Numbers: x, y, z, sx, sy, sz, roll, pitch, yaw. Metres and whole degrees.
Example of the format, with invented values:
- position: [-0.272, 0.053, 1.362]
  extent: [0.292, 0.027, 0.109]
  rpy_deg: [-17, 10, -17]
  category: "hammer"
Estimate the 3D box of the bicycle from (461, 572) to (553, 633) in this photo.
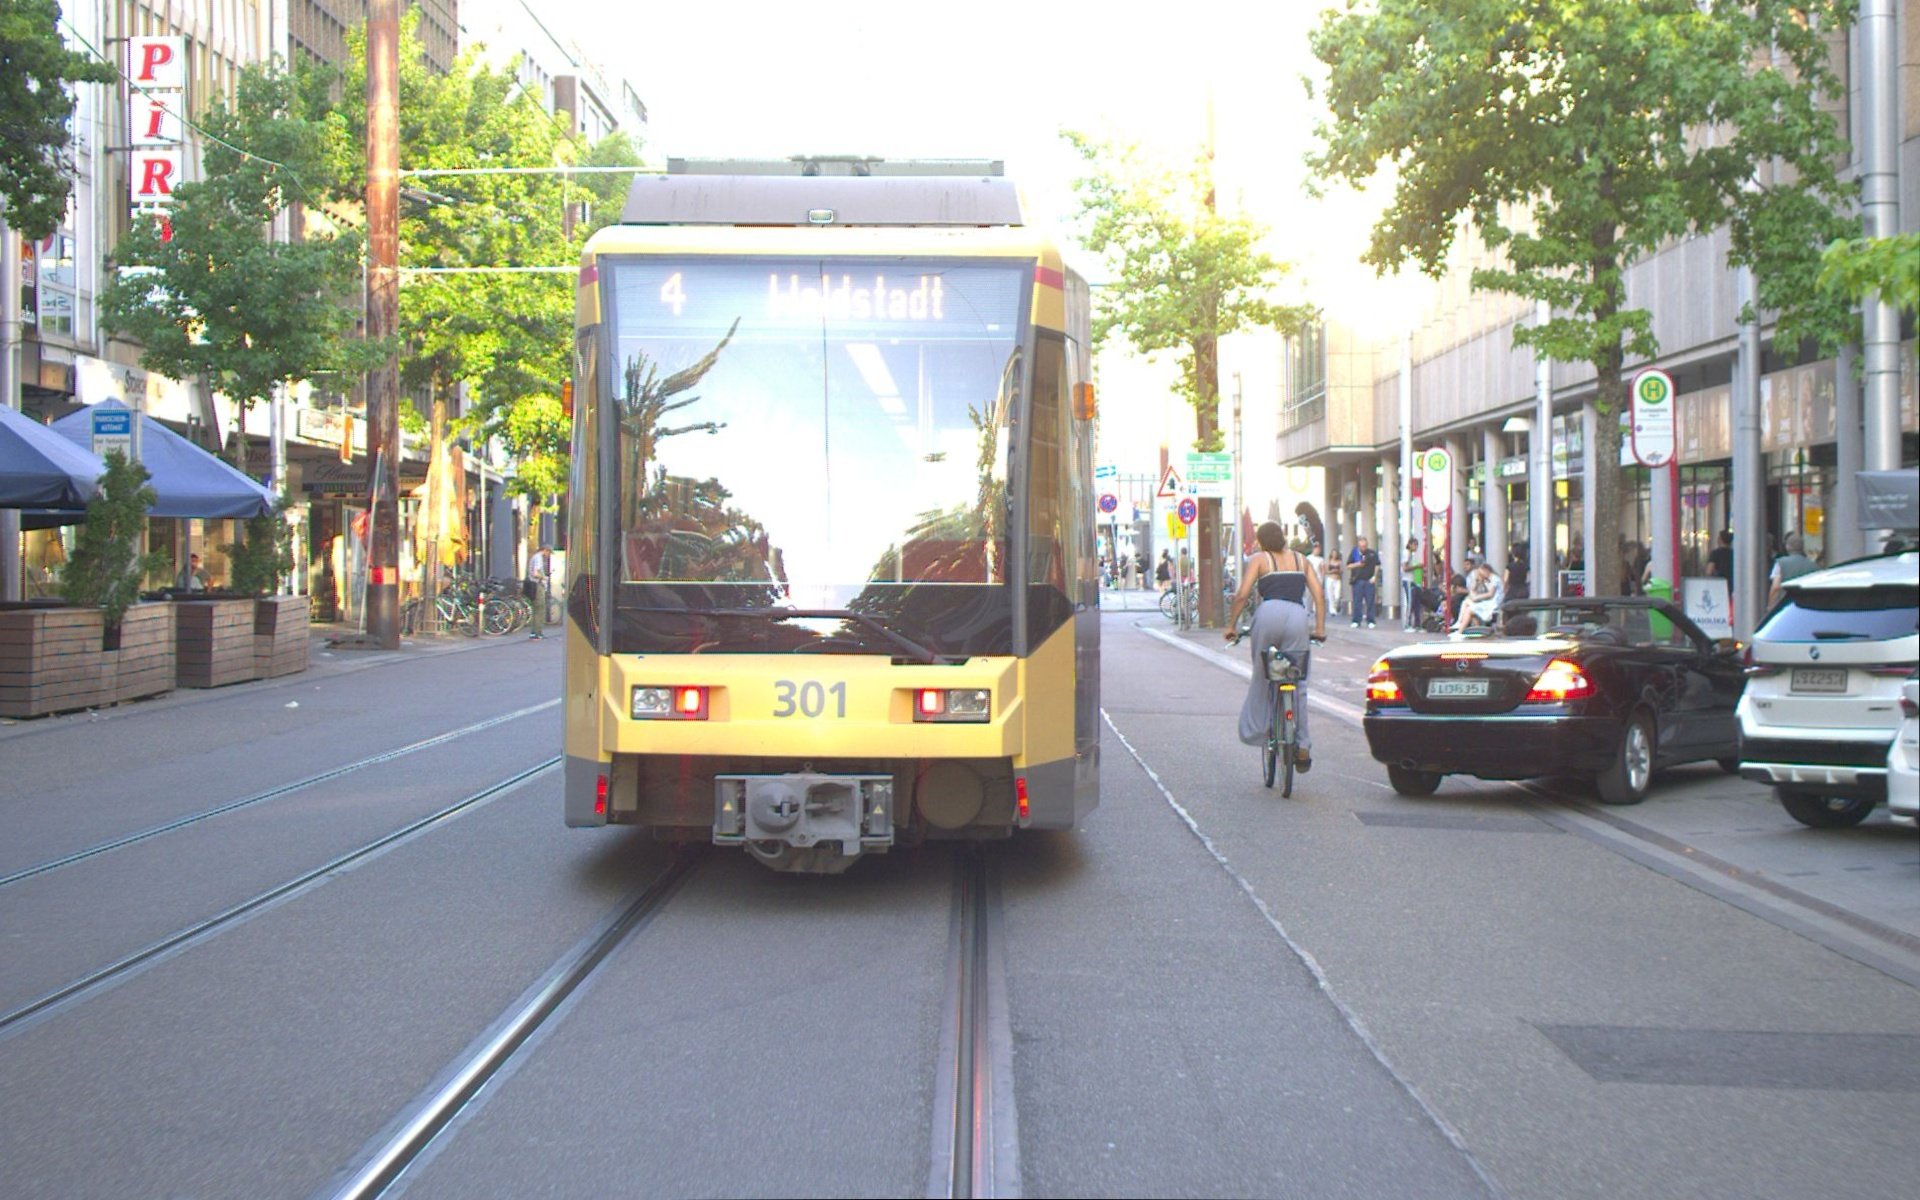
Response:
- position: [-8.882, 0.046, 67.467]
  extent: [1.733, 1.122, 0.613]
  rpy_deg: [3, 0, -6]
  category: "bicycle"

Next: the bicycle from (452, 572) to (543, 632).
- position: [-9.396, 0.044, 69.878]
  extent: [1.733, 1.122, 0.563]
  rpy_deg: [3, 0, -3]
  category: "bicycle"

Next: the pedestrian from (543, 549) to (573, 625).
- position: [-9.001, -0.296, 76.991]
  extent: [0.573, 1.681, 0.553]
  rpy_deg: [2, 0, -9]
  category: "pedestrian"

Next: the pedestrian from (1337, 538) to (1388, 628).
- position: [8.014, -0.338, 68.475]
  extent: [0.888, 1.776, 0.751]
  rpy_deg: [1, 0, -1]
  category: "pedestrian"

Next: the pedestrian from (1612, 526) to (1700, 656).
- position: [10.281, -0.139, 50.806]
  extent: [1.053, 1.870, 0.929]
  rpy_deg: [-2, 2, 1]
  category: "pedestrian"

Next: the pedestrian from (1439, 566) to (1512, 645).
- position: [8.984, 0.085, 59.931]
  extent: [1.112, 1.323, 0.926]
  rpy_deg: [-2, 1, 1]
  category: "pedestrian"

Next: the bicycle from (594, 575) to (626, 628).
- position: [-7.722, 0.043, 75.900]
  extent: [0.611, 1.122, 2.252]
  rpy_deg: [3, 0, -5]
  category: "bicycle"

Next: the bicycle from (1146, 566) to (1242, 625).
- position: [5.946, -0.104, 87.394]
  extent: [2.328, 1.467, 0.791]
  rpy_deg: [1, 0, -3]
  category: "bicycle"

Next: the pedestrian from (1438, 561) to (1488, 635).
- position: [9.313, -0.040, 63.695]
  extent: [0.806, 1.323, 0.626]
  rpy_deg: [-2, 2, 1]
  category: "pedestrian"

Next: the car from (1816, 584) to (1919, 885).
- position: [6.678, 0.560, 17.465]
  extent: [4.170, 1.453, 1.864]
  rpy_deg: [-3, 1, -23]
  category: "car"

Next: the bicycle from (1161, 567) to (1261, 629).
- position: [6.069, -0.046, 83.301]
  extent: [2.328, 1.467, 0.791]
  rpy_deg: [1, 0, -3]
  category: "bicycle"

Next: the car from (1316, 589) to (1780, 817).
- position: [4.175, 0.633, 23.820]
  extent: [1.804, 1.344, 4.439]
  rpy_deg: [0, 1, 29]
  category: "car"

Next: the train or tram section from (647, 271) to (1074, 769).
- position: [-0.754, -0.615, 29.645]
  extent: [3.007, 3.511, 10.402]
  rpy_deg: [0, 0, -1]
  category: "train or tram section"

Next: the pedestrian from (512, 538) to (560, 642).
- position: [-7.746, -0.182, 62.812]
  extent: [0.750, 1.873, 0.576]
  rpy_deg: [2, 0, -4]
  category: "pedestrian"

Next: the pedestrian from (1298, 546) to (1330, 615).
- position: [8.838, -0.490, 85.832]
  extent: [0.701, 1.678, 0.680]
  rpy_deg: [-2, 2, 1]
  category: "pedestrian"

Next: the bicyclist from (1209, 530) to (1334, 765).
- position: [2.071, 0.312, 22.944]
  extent: [0.726, 1.521, 0.733]
  rpy_deg: [2, 0, 0]
  category: "bicyclist"

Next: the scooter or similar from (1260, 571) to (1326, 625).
- position: [7.547, -0.046, 77.853]
  extent: [1.379, 1.206, 0.516]
  rpy_deg: [-1, 0, -13]
  category: "scooter or similar"

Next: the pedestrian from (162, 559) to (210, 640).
- position: [-12.896, -0.004, 57.313]
  extent: [0.574, 1.315, 0.725]
  rpy_deg: [2, 0, 1]
  category: "pedestrian"

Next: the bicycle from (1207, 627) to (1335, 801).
- position: [2.061, 0.735, 23.021]
  extent: [0.656, 1.057, 2.057]
  rpy_deg: [1, 1, 0]
  category: "bicycle"

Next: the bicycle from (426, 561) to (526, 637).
- position: [-9.257, -0.015, 65.699]
  extent: [1.796, 1.355, 0.660]
  rpy_deg: [3, 0, -12]
  category: "bicycle"

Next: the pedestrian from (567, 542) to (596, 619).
- position: [-8.396, -0.439, 76.279]
  extent: [0.551, 1.681, 0.576]
  rpy_deg: [2, 0, -4]
  category: "pedestrian"

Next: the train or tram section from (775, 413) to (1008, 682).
- position: [-0.959, -0.744, 50.963]
  extent: [3.044, 3.511, 10.531]
  rpy_deg: [1, 0, -1]
  category: "train or tram section"

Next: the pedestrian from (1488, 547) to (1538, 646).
- position: [9.414, -0.066, 58.499]
  extent: [0.701, 1.632, 0.646]
  rpy_deg: [-2, 2, 1]
  category: "pedestrian"

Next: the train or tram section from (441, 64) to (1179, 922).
- position: [-0.660, -0.469, 19.254]
  extent: [3.016, 3.512, 10.371]
  rpy_deg: [0, 0, -1]
  category: "train or tram section"

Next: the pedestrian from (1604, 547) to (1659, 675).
- position: [9.887, 0.158, 50.651]
  extent: [0.596, 1.833, 0.829]
  rpy_deg: [-2, 2, 1]
  category: "pedestrian"

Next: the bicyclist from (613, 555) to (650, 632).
- position: [-6.067, -0.116, 63.526]
  extent: [0.620, 1.411, 0.700]
  rpy_deg: [1, 0, -2]
  category: "bicyclist"

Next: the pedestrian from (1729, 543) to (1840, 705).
- position: [8.222, 0.228, 34.315]
  extent: [0.877, 1.576, 0.755]
  rpy_deg: [1, 2, 0]
  category: "pedestrian"

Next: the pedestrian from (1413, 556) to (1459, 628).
- position: [9.065, -0.151, 65.504]
  extent: [0.739, 1.323, 0.720]
  rpy_deg: [-2, 2, 1]
  category: "pedestrian"

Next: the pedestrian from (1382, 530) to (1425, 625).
- position: [8.414, -0.420, 65.266]
  extent: [0.749, 1.776, 0.891]
  rpy_deg: [0, 0, 3]
  category: "pedestrian"

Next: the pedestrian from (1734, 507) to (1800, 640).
- position: [9.934, -0.333, 42.352]
  extent: [0.596, 1.610, 0.755]
  rpy_deg: [-2, 2, 1]
  category: "pedestrian"

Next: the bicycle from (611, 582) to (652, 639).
- position: [-6.065, 0.186, 63.463]
  extent: [0.641, 1.019, 1.589]
  rpy_deg: [1, 1, -2]
  category: "bicycle"

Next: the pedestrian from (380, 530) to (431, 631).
- position: [-11.167, -0.392, 69.283]
  extent: [0.849, 2.007, 0.921]
  rpy_deg: [0, 0, 0]
  category: "pedestrian"

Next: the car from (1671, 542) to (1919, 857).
- position: [6.430, 0.452, 20.144]
  extent: [4.194, 1.632, 1.921]
  rpy_deg: [-3, 1, -31]
  category: "car"

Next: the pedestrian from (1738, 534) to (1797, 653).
- position: [11.206, -0.102, 47.723]
  extent: [0.596, 1.610, 0.829]
  rpy_deg: [-2, 2, 1]
  category: "pedestrian"

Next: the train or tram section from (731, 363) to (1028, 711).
- position: [-0.864, -0.687, 40.274]
  extent: [3.003, 3.511, 10.845]
  rpy_deg: [0, 1, -1]
  category: "train or tram section"
